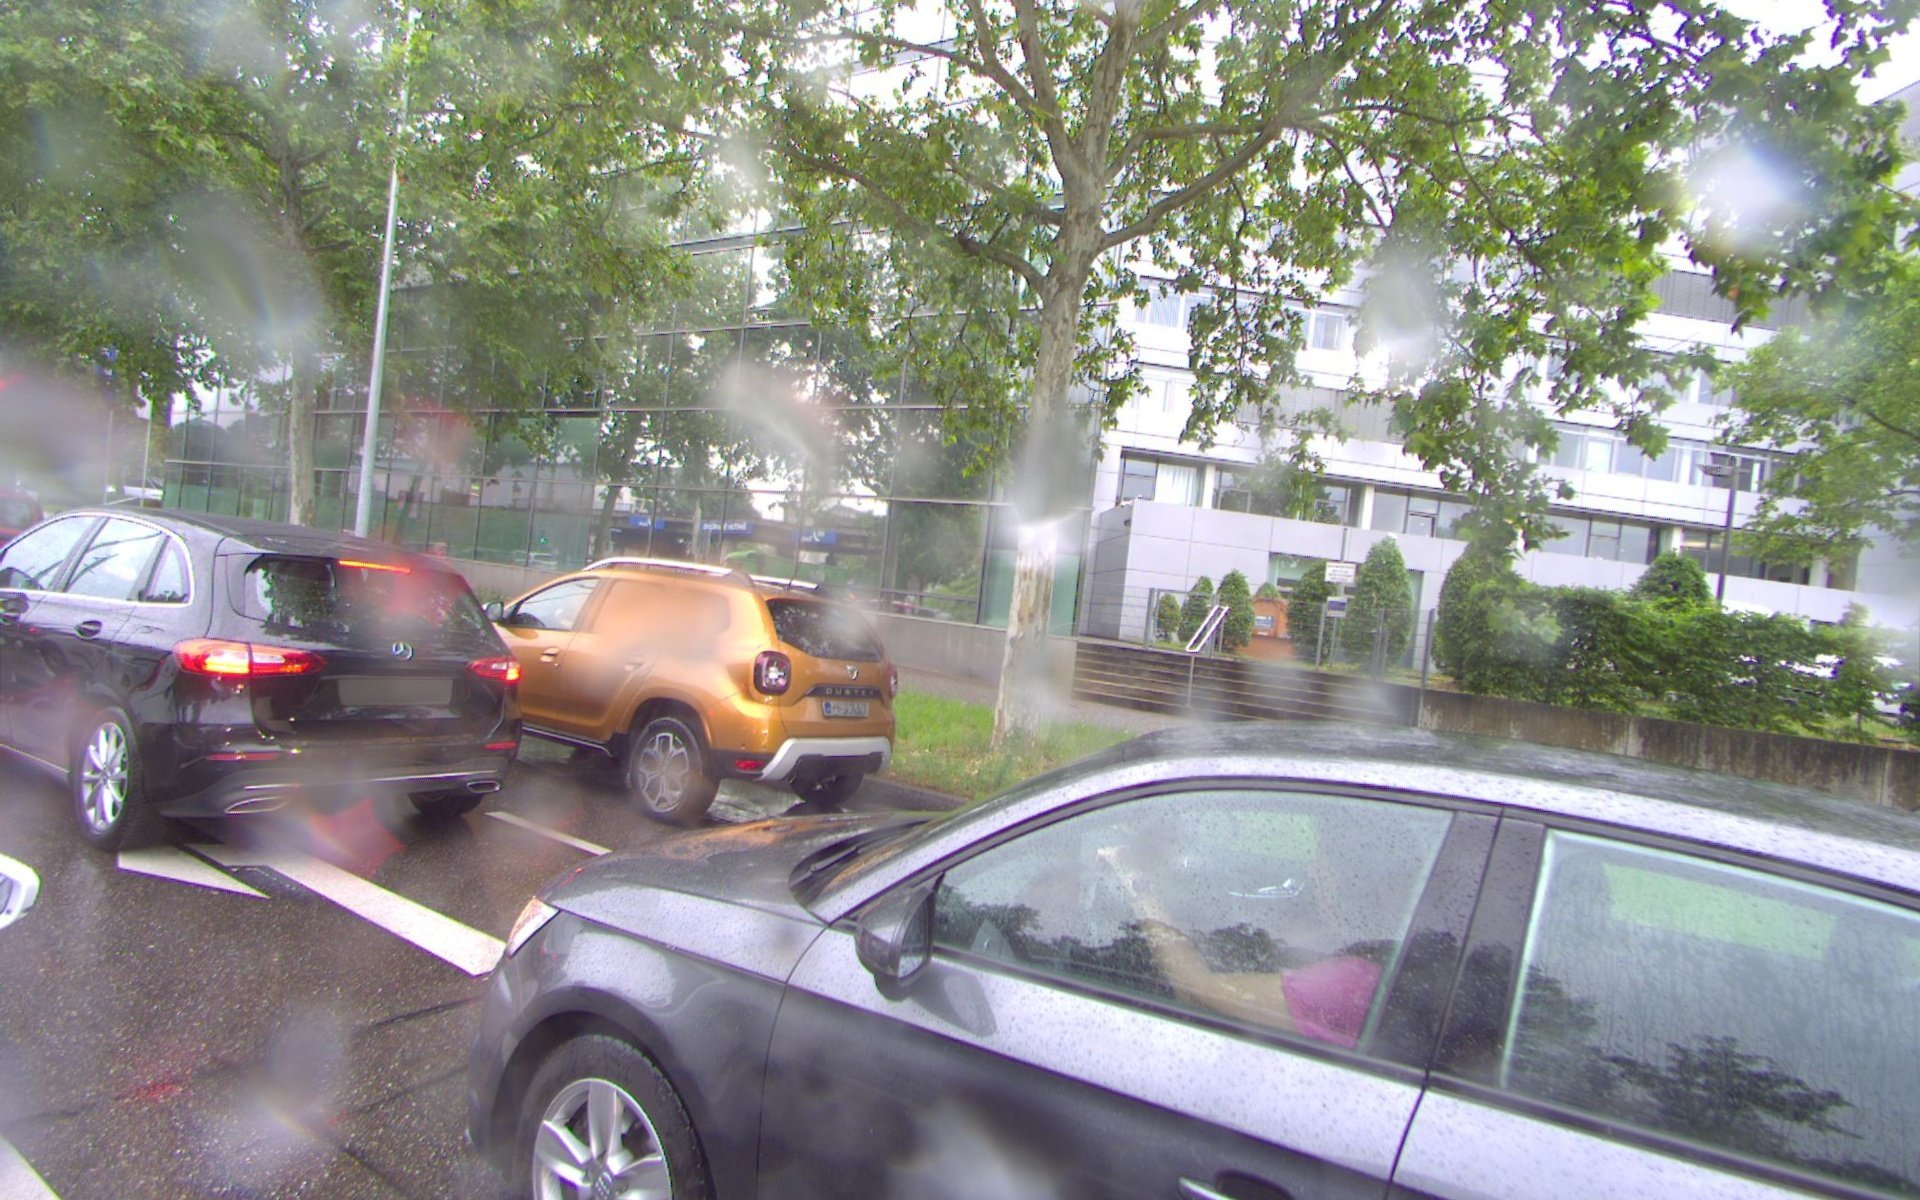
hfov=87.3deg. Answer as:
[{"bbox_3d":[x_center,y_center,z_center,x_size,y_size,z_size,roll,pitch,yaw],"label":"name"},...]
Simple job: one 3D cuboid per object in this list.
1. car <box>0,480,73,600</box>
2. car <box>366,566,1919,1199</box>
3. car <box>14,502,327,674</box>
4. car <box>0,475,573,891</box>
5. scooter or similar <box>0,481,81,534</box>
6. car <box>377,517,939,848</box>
[{"bbox_3d":[-16.216,-1.115,16.134,4.201,1.714,1.714,6,-2,32],"label":"car"},{"bbox_3d":[0.690,0.897,2.106,3.718,1.445,1.679,7,-1,31],"label":"car"},{"bbox_3d":[-8.931,-0.150,11.347,3.332,1.480,1.572,7,-1,31],"label":"car"},{"bbox_3d":[-4.351,0.245,5.761,4.022,1.573,1.751,7,-1,31],"label":"car"},{"bbox_3d":[-54.534,-5.495,58.152,5.228,2.476,1.893,7,0,-9],"label":"scooter or similar"},{"bbox_3d":[-2.420,0.493,7.737,4.079,1.704,1.679,8,-2,32],"label":"car"}]
